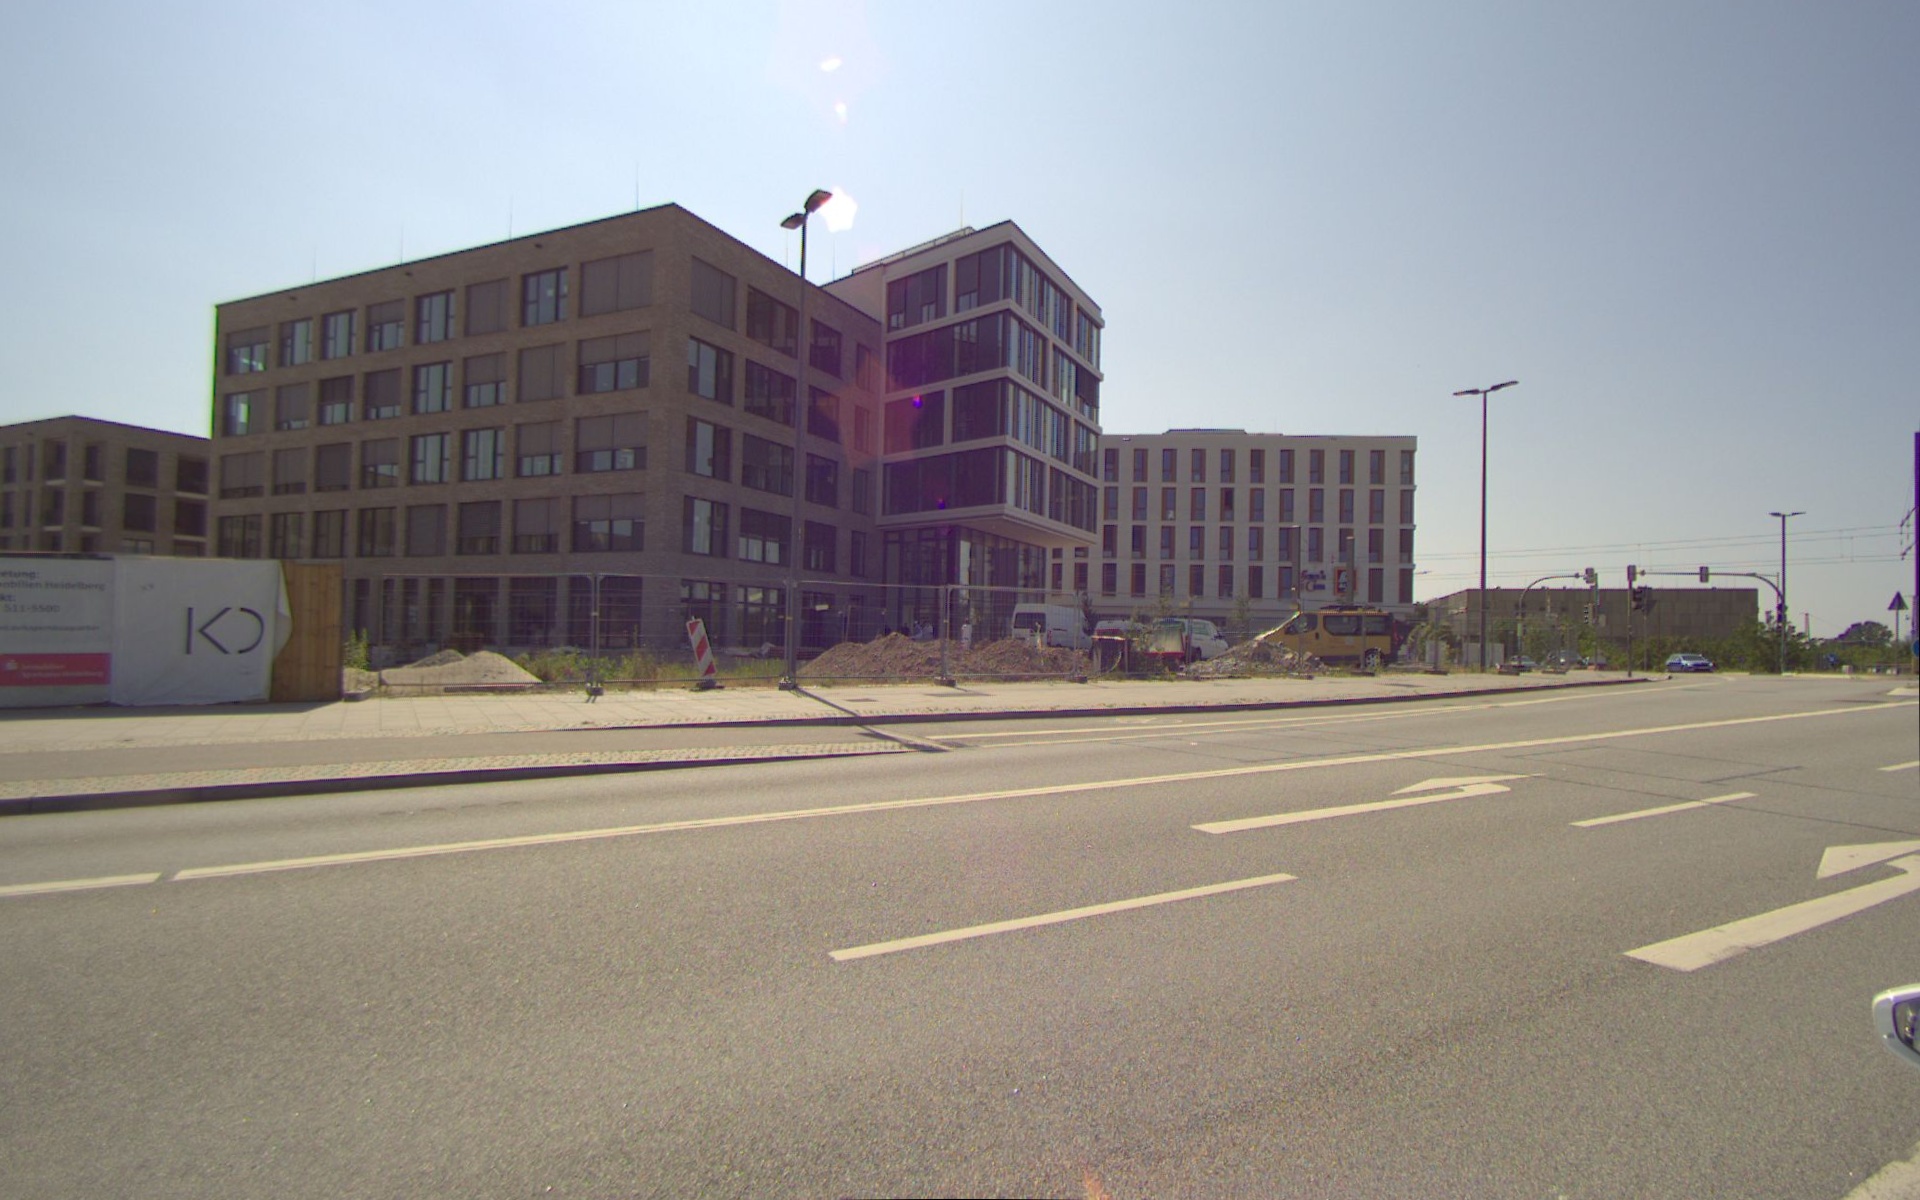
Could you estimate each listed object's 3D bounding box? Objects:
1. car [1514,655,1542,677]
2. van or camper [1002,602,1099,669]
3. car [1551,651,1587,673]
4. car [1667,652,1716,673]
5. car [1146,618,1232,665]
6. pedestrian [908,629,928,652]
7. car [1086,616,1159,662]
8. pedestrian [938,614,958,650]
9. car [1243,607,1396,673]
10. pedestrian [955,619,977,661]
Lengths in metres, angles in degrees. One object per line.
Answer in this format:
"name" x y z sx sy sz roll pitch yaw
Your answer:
"car" 47.374 5.484 83.831 1.541 1.608 3.477 2 0 23
"van or camper" 4.128 1.552 45.070 2.273 2.772 4.975 2 0 32
"car" 44.344 4.496 73.203 1.646 1.496 3.405 0 -1 22
"car" 52.300 4.473 71.880 1.787 1.348 4.000 2 -2 20
"car" 9.659 1.690 42.161 1.841 1.797 4.637 2 0 36
"pedestrian" -1.974 1.907 47.299 0.734 1.041 0.699 2 0 16
"car" 7.098 1.662 43.686 1.759 1.881 3.842 2 0 31
"pedestrian" -0.575 1.547 48.875 0.734 1.741 0.699 2 0 16
"car" 11.986 1.295 33.771 4.533 1.988 1.991 2 0 9
"pedestrian" 0.246 1.708 43.065 0.734 1.741 0.699 2 0 16
